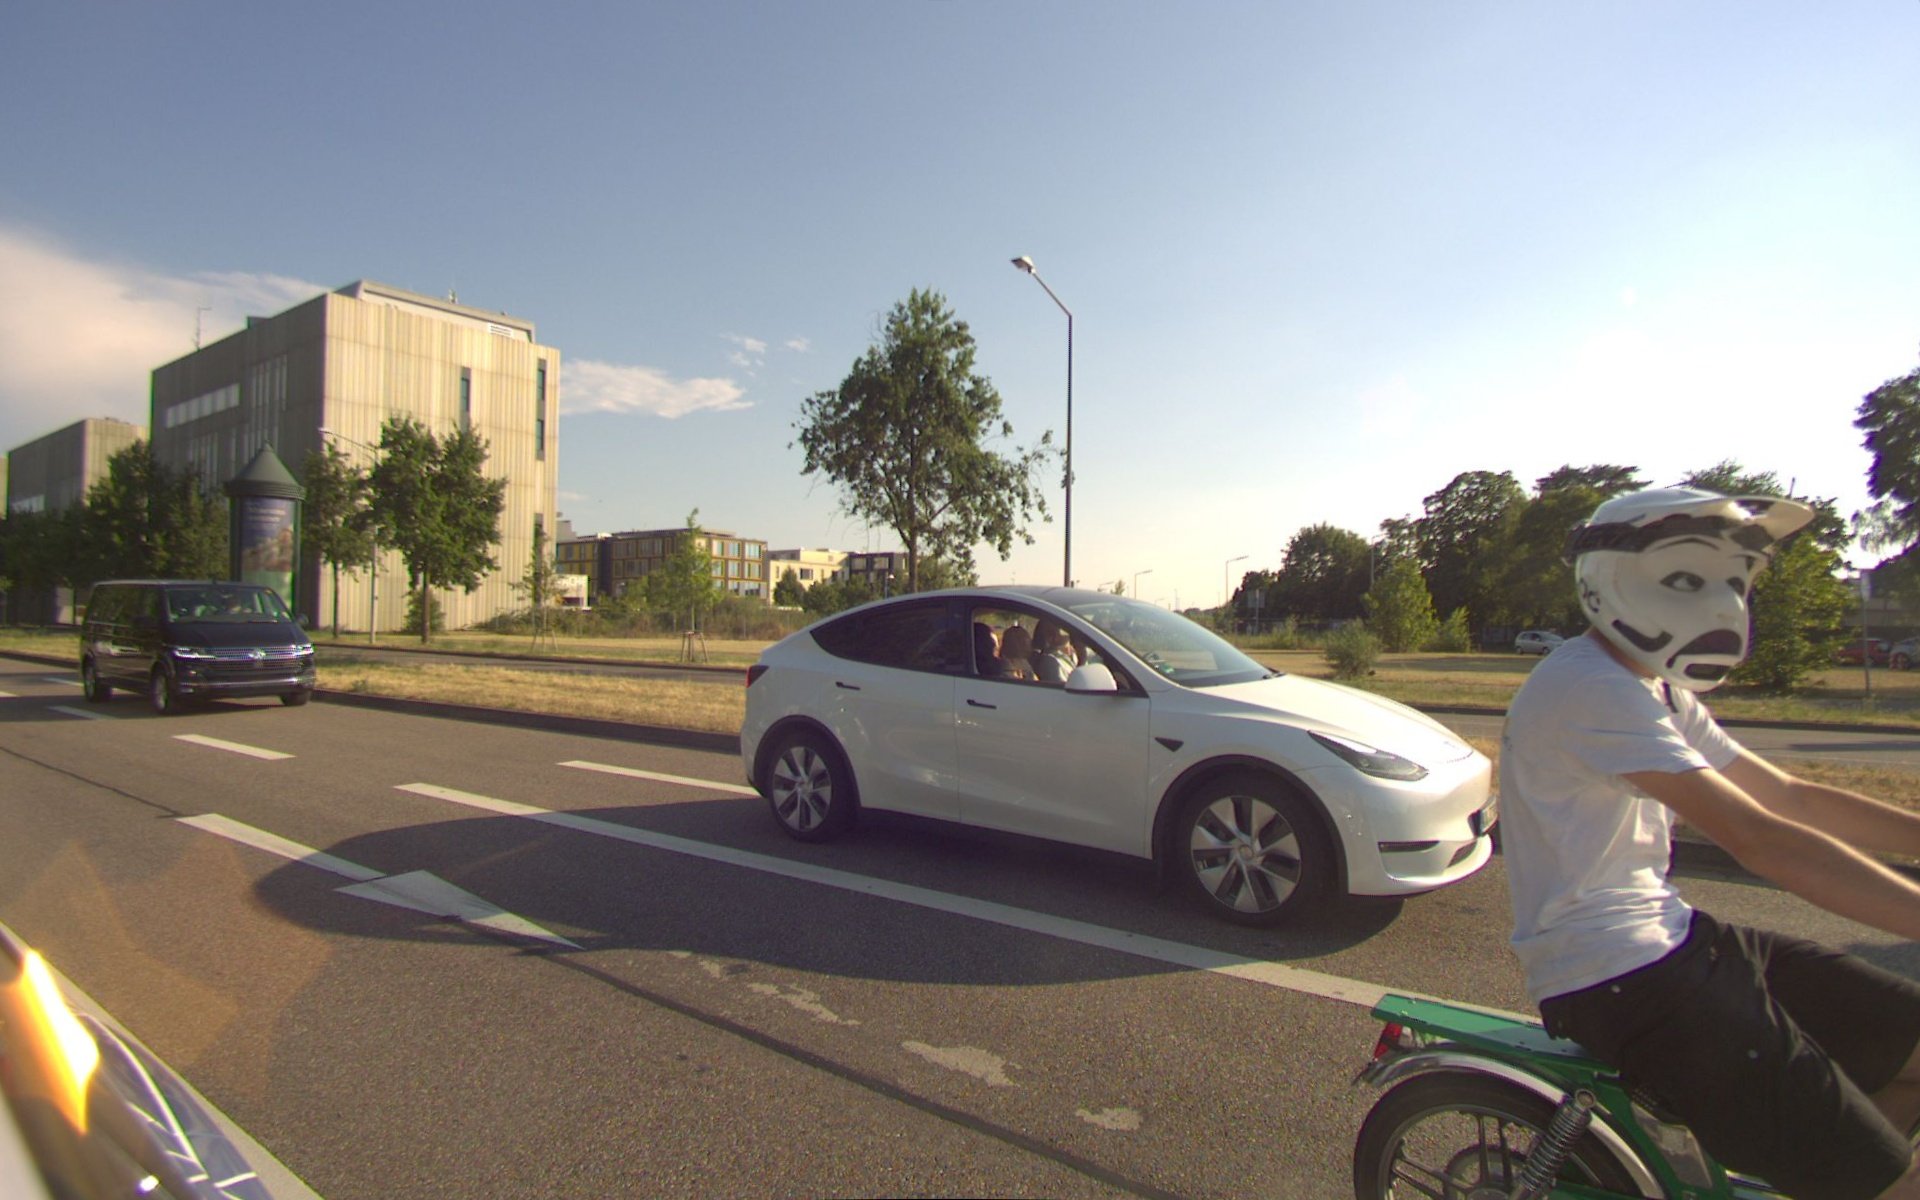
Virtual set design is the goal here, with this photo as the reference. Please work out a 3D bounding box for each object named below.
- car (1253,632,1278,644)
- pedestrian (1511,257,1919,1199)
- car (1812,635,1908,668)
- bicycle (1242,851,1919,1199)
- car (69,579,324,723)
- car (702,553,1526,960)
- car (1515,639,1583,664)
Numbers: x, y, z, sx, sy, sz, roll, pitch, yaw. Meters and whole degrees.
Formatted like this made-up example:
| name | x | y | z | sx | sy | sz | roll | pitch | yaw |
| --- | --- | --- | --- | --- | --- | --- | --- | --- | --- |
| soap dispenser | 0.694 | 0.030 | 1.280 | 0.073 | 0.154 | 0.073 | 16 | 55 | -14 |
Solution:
| name | x | y | z | sx | sy | sz | roll | pitch | yaw |
| --- | --- | --- | --- | --- | --- | --- | --- | --- | --- |
| car | 31.972 | 3.966 | 105.911 | 1.315 | 1.302 | 2.810 | 1 | -2 | -10 |
| pedestrian | 1.418 | 0.328 | 1.573 | 0.854 | 1.530 | 0.649 | -1 | -3 | 41 |
| car | 45.430 | 2.583 | 51.168 | 1.557 | 1.558 | 3.383 | 1 | -2 | -10 |
| bicycle | 1.383 | 0.983 | 1.475 | 1.855 | 0.882 | 0.472 | -1 | -3 | 41 |
| car | -12.068 | 0.710 | 15.874 | 5.003 | 1.947 | 1.839 | -1 | -1 | 36 |
| car | 0.639 | 0.656 | 6.114 | 4.669 | 1.611 | 1.719 | -1 | -1 | 37 |
| car | 38.146 | 3.313 | 65.632 | 1.629 | 1.537 | 3.952 | 1 | -2 | -10 |
